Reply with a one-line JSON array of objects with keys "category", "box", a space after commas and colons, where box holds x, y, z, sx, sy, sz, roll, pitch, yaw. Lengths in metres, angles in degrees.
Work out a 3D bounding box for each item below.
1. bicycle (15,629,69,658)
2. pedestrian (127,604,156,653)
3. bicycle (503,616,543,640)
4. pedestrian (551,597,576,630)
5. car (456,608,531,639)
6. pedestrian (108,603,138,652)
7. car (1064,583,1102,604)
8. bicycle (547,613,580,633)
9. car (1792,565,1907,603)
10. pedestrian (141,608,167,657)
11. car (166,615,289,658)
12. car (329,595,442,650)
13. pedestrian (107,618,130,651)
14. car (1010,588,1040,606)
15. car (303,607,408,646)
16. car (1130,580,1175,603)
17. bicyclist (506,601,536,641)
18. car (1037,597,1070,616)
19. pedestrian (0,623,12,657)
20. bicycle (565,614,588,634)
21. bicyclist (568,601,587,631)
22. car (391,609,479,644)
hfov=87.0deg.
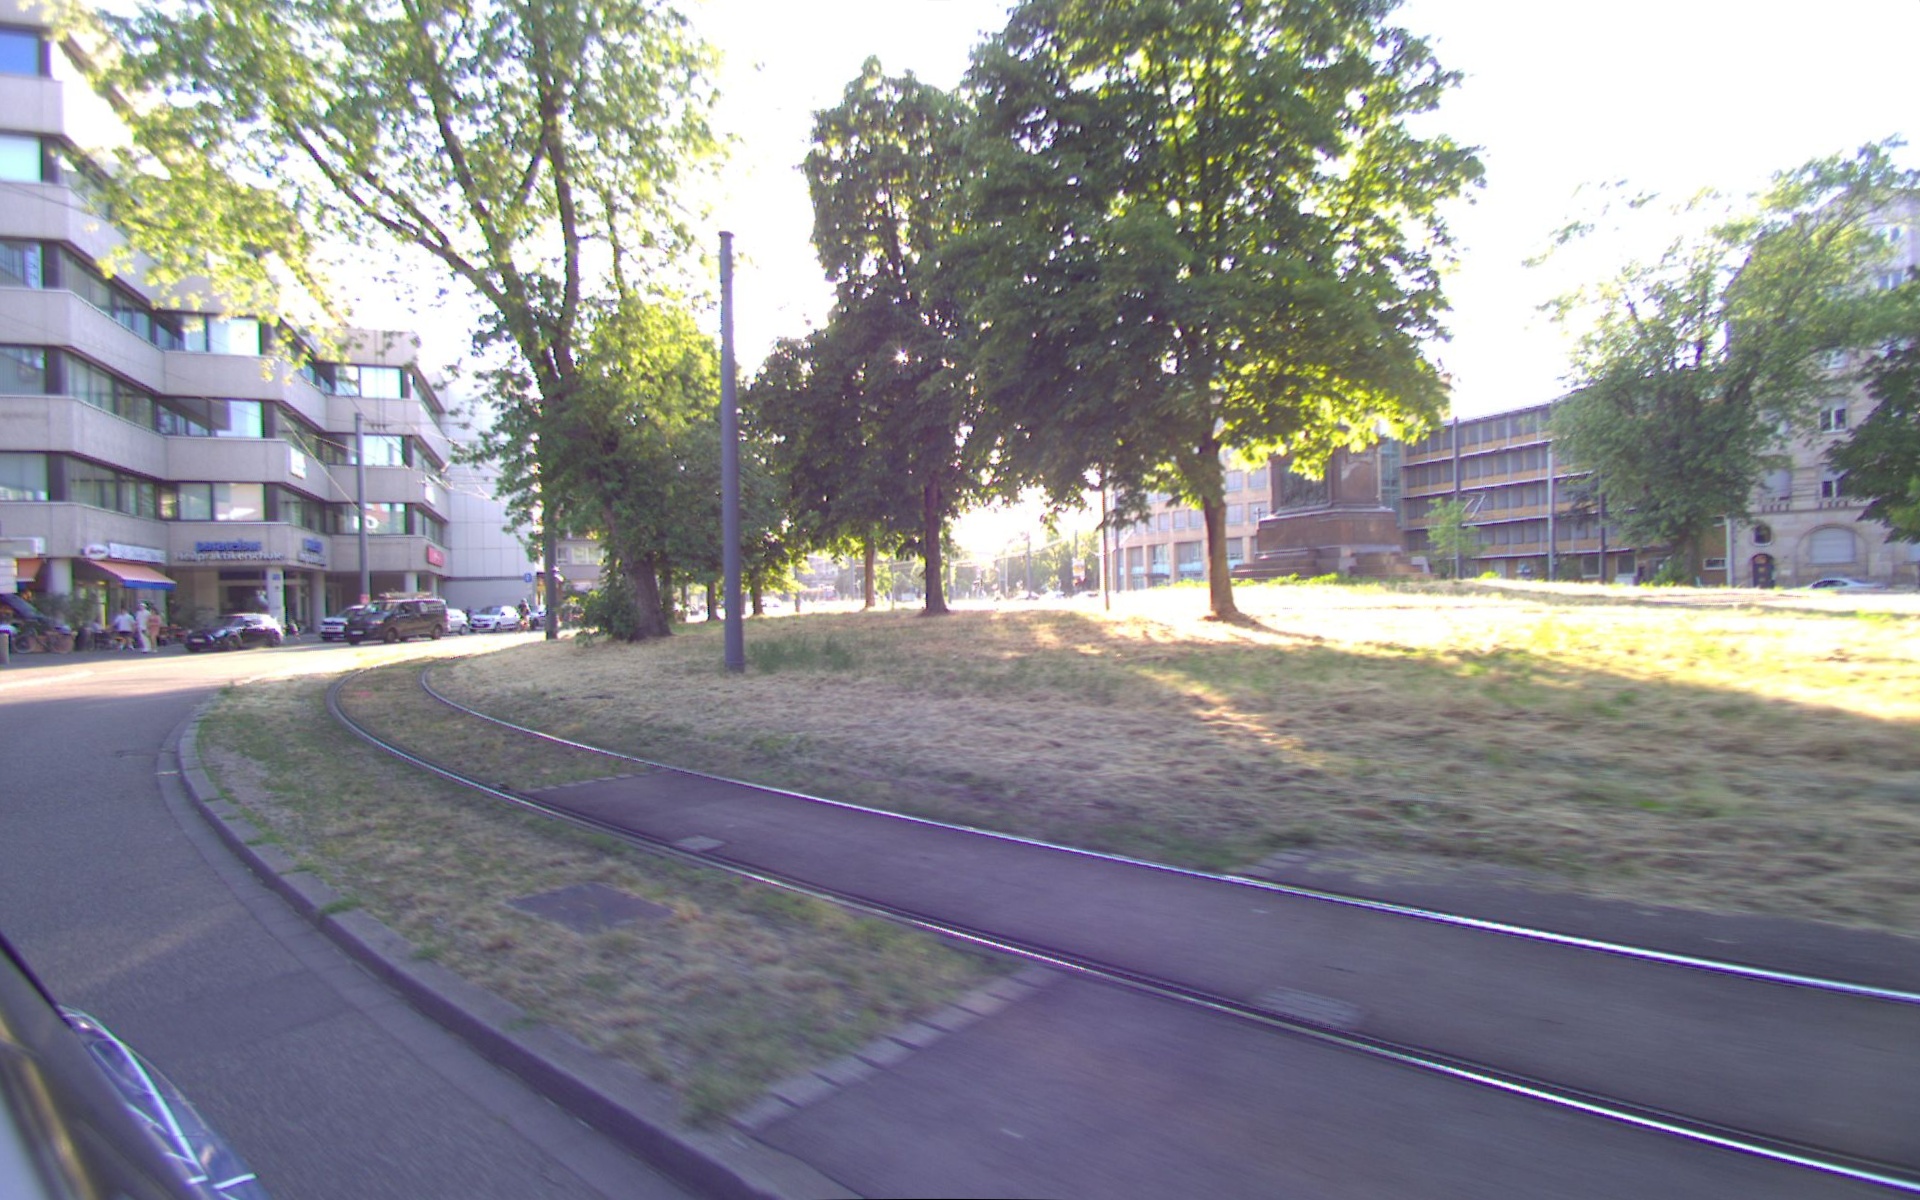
[{"category": "bicycle", "box": [-33.442, 1.579, 36.891, 0.531, 1.000, 1.425, 1, 1, 44]}, {"category": "pedestrian", "box": [-31.507, 1.088, 38.966, 0.565, 1.852, 0.605, 3, -1, -7]}, {"category": "bicycle", "box": [-22.648, 1.434, 52.492, 0.925, 1.084, 2.216, -2, 1, 7]}, {"category": "pedestrian", "box": [-24.749, 0.842, 63.174, 0.925, 1.987, 1.270, -2, 1, 7]}, {"category": "car", "box": [-28.031, 1.400, 60.934, 1.976, 1.617, 4.514, -2, 1, 7]}, {"category": "pedestrian", "box": [-32.271, 1.070, 39.013, 0.611, 1.852, 0.537, 3, -1, -6]}, {"category": "car", "box": [13.033, -0.676, 107.698, 1.965, 2.028, 4.563, -2, 1, -22]}, {"category": "bicycle", "box": [-24.729, 1.421, 63.134, 0.946, 1.084, 2.216, -2, 1, 7]}, {"category": "car", "box": [46.221, -0.811, 52.684, 1.965, 1.807, 4.013, -2, 1, -23]}, {"category": "pedestrian", "box": [-30.881, 1.231, 38.781, 0.525, 1.852, 0.501, 3, -1, -9]}, {"category": "car", "box": [-29.397, 1.425, 40.752, 1.773, 1.453, 3.993, -2, 1, 6]}, {"category": "car", "box": [-25.122, 0.924, 44.453, 1.976, 2.172, 4.514, -2, 1, 7]}, {"category": "pedestrian", "box": [-35.020, 1.414, 42.126, 0.601, 1.331, 0.593, -1, 1, -28]}, {"category": "car", "box": [7.818, -0.340, 122.011, 1.965, 2.028, 4.013, -2, 1, -22]}, {"category": "car", "box": [-29.073, 1.232, 48.845, 1.976, 1.617, 4.514, -2, 1, 7]}, {"category": "car", "box": [18.165, -0.773, 95.594, 1.965, 2.028, 4.563, -2, 1, -22]}, {"category": "bicyclist", "box": [-22.689, 1.097, 52.360, 0.914, 1.988, 1.111, -2, 1, 7]}, {"category": "car", "box": [10.590, 0.748, 114.689, 1.965, 2.028, 4.013, -2, 1, -22]}, {"category": "pedestrian", "box": [-34.636, 1.454, 36.507, 0.454, 1.203, 0.422, 3, -1, -19]}, {"category": "bicycle", "box": [-22.952, 1.422, 60.614, 0.860, 1.105, 1.853, -2, 1, -7]}, {"category": "bicyclist", "box": [-22.948, 0.949, 60.730, 0.848, 1.796, 0.987, -1, 1, -6]}, {"category": "car", "box": [-28.372, 1.391, 54.887, 1.976, 1.617, 4.514, -2, 1, 7]}]
